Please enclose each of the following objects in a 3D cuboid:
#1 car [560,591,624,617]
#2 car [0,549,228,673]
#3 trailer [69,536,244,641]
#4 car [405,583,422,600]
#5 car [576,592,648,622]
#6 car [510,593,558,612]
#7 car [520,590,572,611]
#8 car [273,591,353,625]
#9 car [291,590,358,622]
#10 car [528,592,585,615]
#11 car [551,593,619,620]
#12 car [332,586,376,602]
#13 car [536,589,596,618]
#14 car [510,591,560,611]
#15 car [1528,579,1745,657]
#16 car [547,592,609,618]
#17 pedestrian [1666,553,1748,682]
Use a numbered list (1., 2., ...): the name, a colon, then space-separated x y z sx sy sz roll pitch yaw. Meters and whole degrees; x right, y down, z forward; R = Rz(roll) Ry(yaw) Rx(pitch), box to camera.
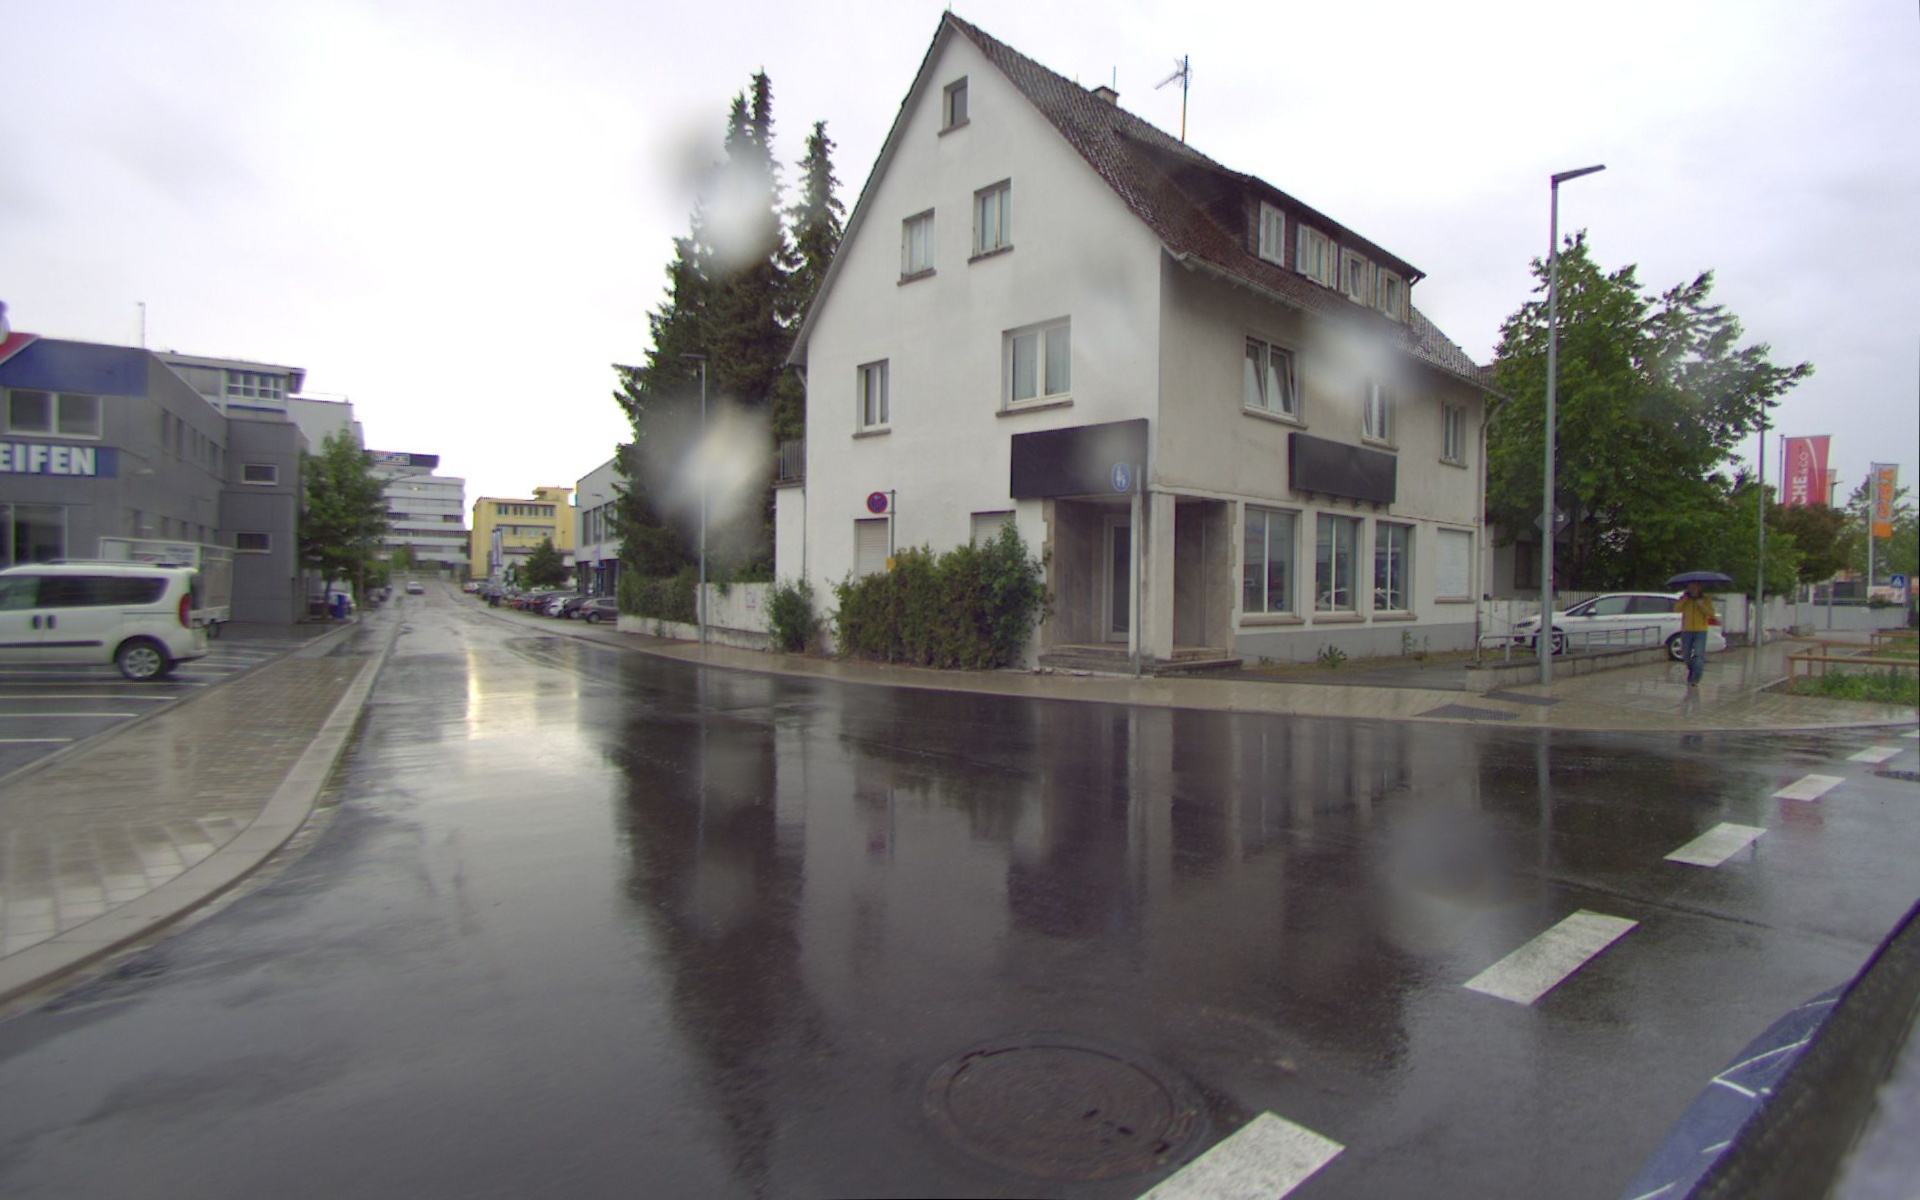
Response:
1. car: -23.855 0.254 65.626 3.689 1.466 1.614 -3 -1 -28
2. car: -14.510 0.133 16.219 4.403 1.851 1.895 0 1 -34
3. trailer: -24.122 -0.255 30.731 2.876 2.770 5.896 -2 -1 -26
4. car: -73.915 -1.179 136.878 1.960 2.039 4.003 -2 -1 -29
5. car: -19.838 0.383 57.699 3.689 1.466 1.614 -3 -1 -28
6. car: -37.332 0.249 88.659 3.689 1.466 1.614 -3 -1 -28
7. car: -32.692 0.057 79.912 3.689 1.466 1.614 -3 -1 -28
8. car: -38.976 0.468 61.003 3.925 1.814 1.999 -2 -2 -35
9. car: -45.642 0.429 72.738 3.925 2.039 1.999 -2 -2 -35
10. car: -29.678 0.275 74.412 3.689 1.466 1.614 -3 -1 -28
11. car: -23.136 0.397 62.417 3.689 1.466 1.614 -3 -1 -28
12. car: -64.913 -0.662 108.418 3.925 1.505 1.999 -2 -2 -35
13. car: -27.121 0.235 69.685 3.689 1.775 1.614 -3 -2 -28
14. car: -35.379 0.056 84.247 3.689 1.466 1.614 -3 -1 -28
15. car: 16.081 0.367 24.263 4.114 1.600 1.976 3 2 34
16. car: -25.649 0.336 67.962 3.689 1.466 1.614 -3 -1 -28
17. pedestrian: 12.461 0.269 16.878 1.175 2.038 0.860 0 2 -45
